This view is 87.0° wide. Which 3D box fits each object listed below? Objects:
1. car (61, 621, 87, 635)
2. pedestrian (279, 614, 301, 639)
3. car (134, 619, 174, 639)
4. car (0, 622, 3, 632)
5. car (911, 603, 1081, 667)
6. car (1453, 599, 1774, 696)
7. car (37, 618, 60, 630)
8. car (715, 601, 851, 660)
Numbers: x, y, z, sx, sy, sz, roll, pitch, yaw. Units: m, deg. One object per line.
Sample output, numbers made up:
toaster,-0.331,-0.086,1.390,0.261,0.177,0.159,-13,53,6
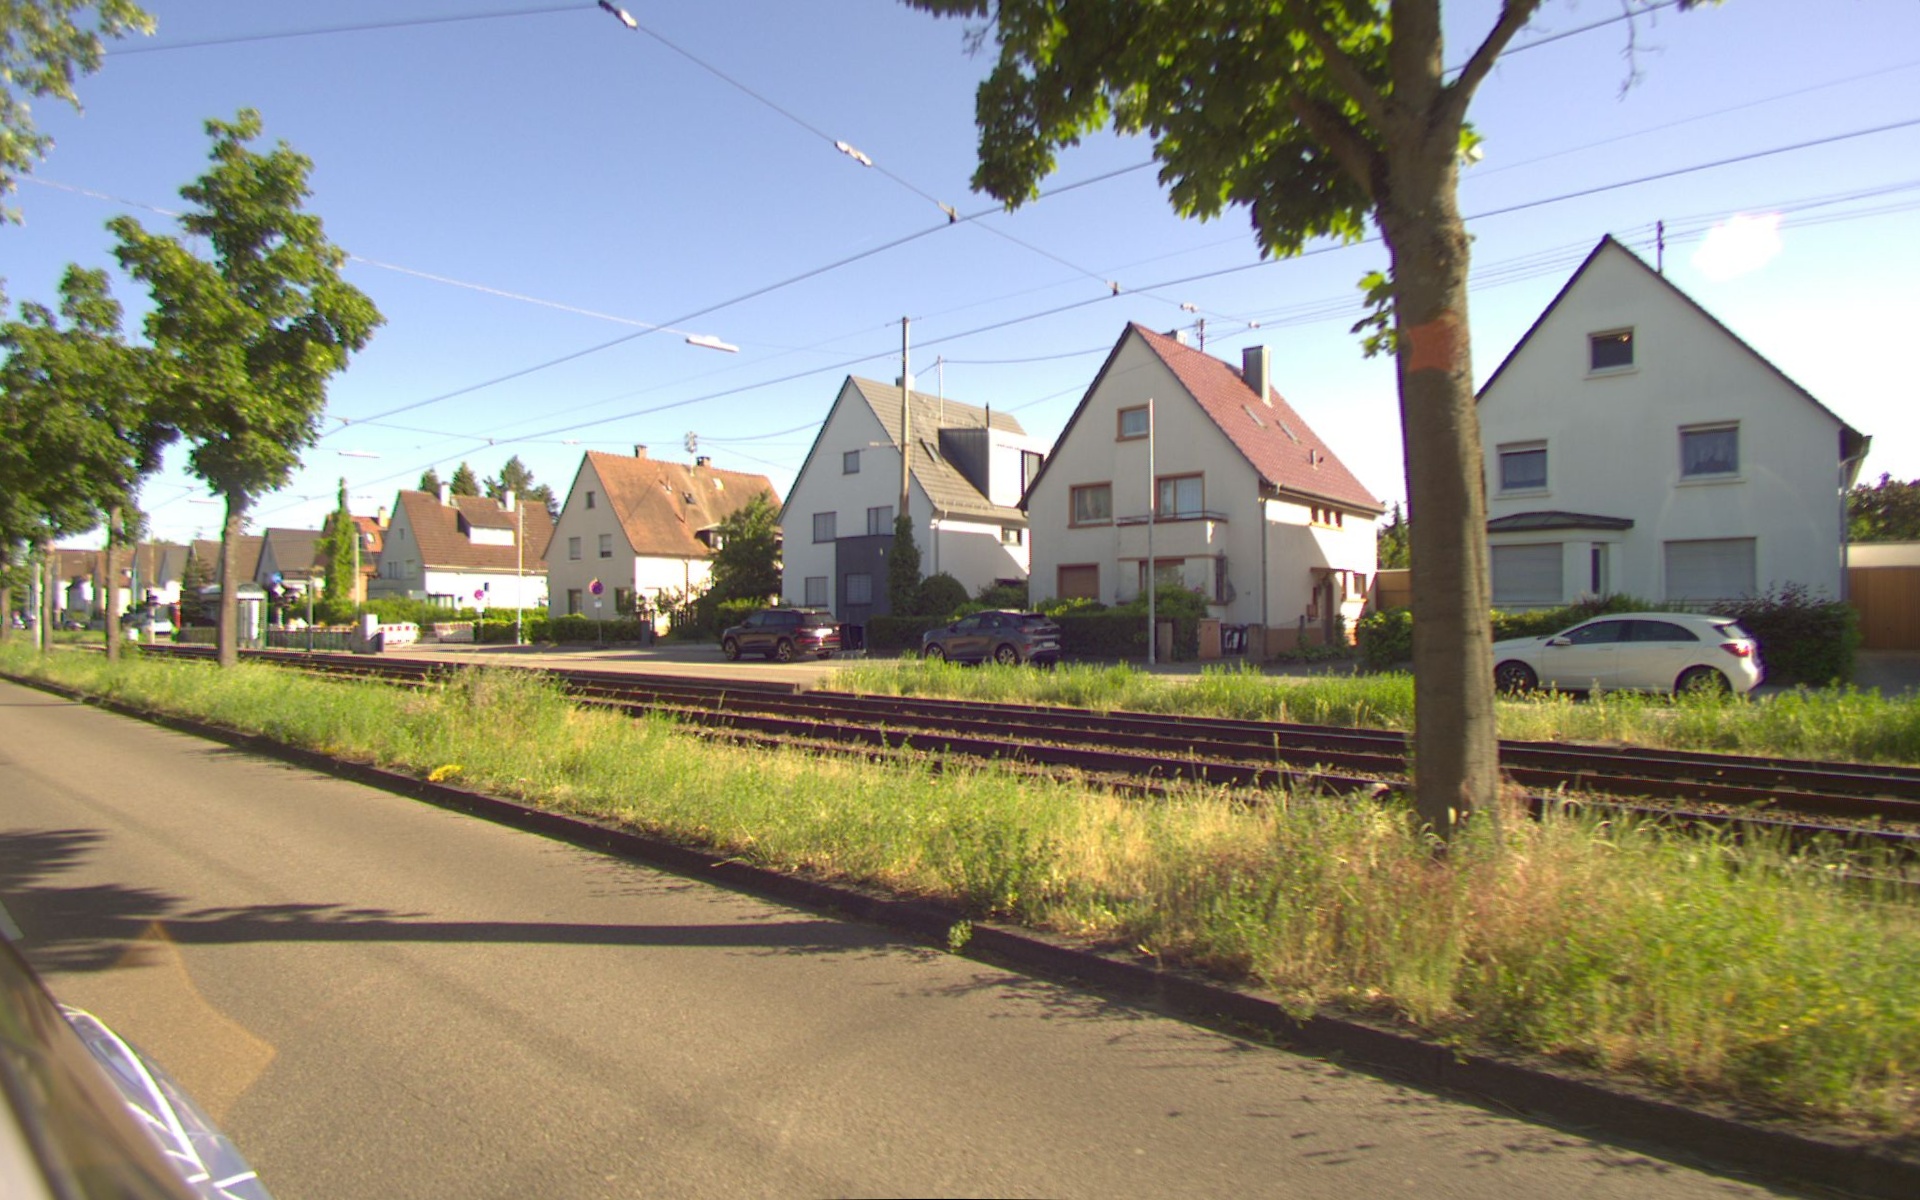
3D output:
car,-102.560,3.241,117.125,3.754,1.501,1.716,-1,1,41
pedestrian,-41.626,1.638,62.850,0.785,1.546,0.811,-2,-2,9
car,-72.909,2.585,91.549,4.837,1.691,1.973,-1,1,41
car,-154.308,4.362,161.794,4.001,1.517,1.767,-1,1,44
car,0.896,0.875,26.792,4.254,1.506,1.906,-1,1,41
car,11.198,0.732,17.534,4.410,1.437,1.972,-1,1,43
car,-115.322,2.986,127.981,3.822,1.391,1.733,-1,1,41
car,-5.746,0.942,32.608,4.388,1.726,1.973,-1,1,41
